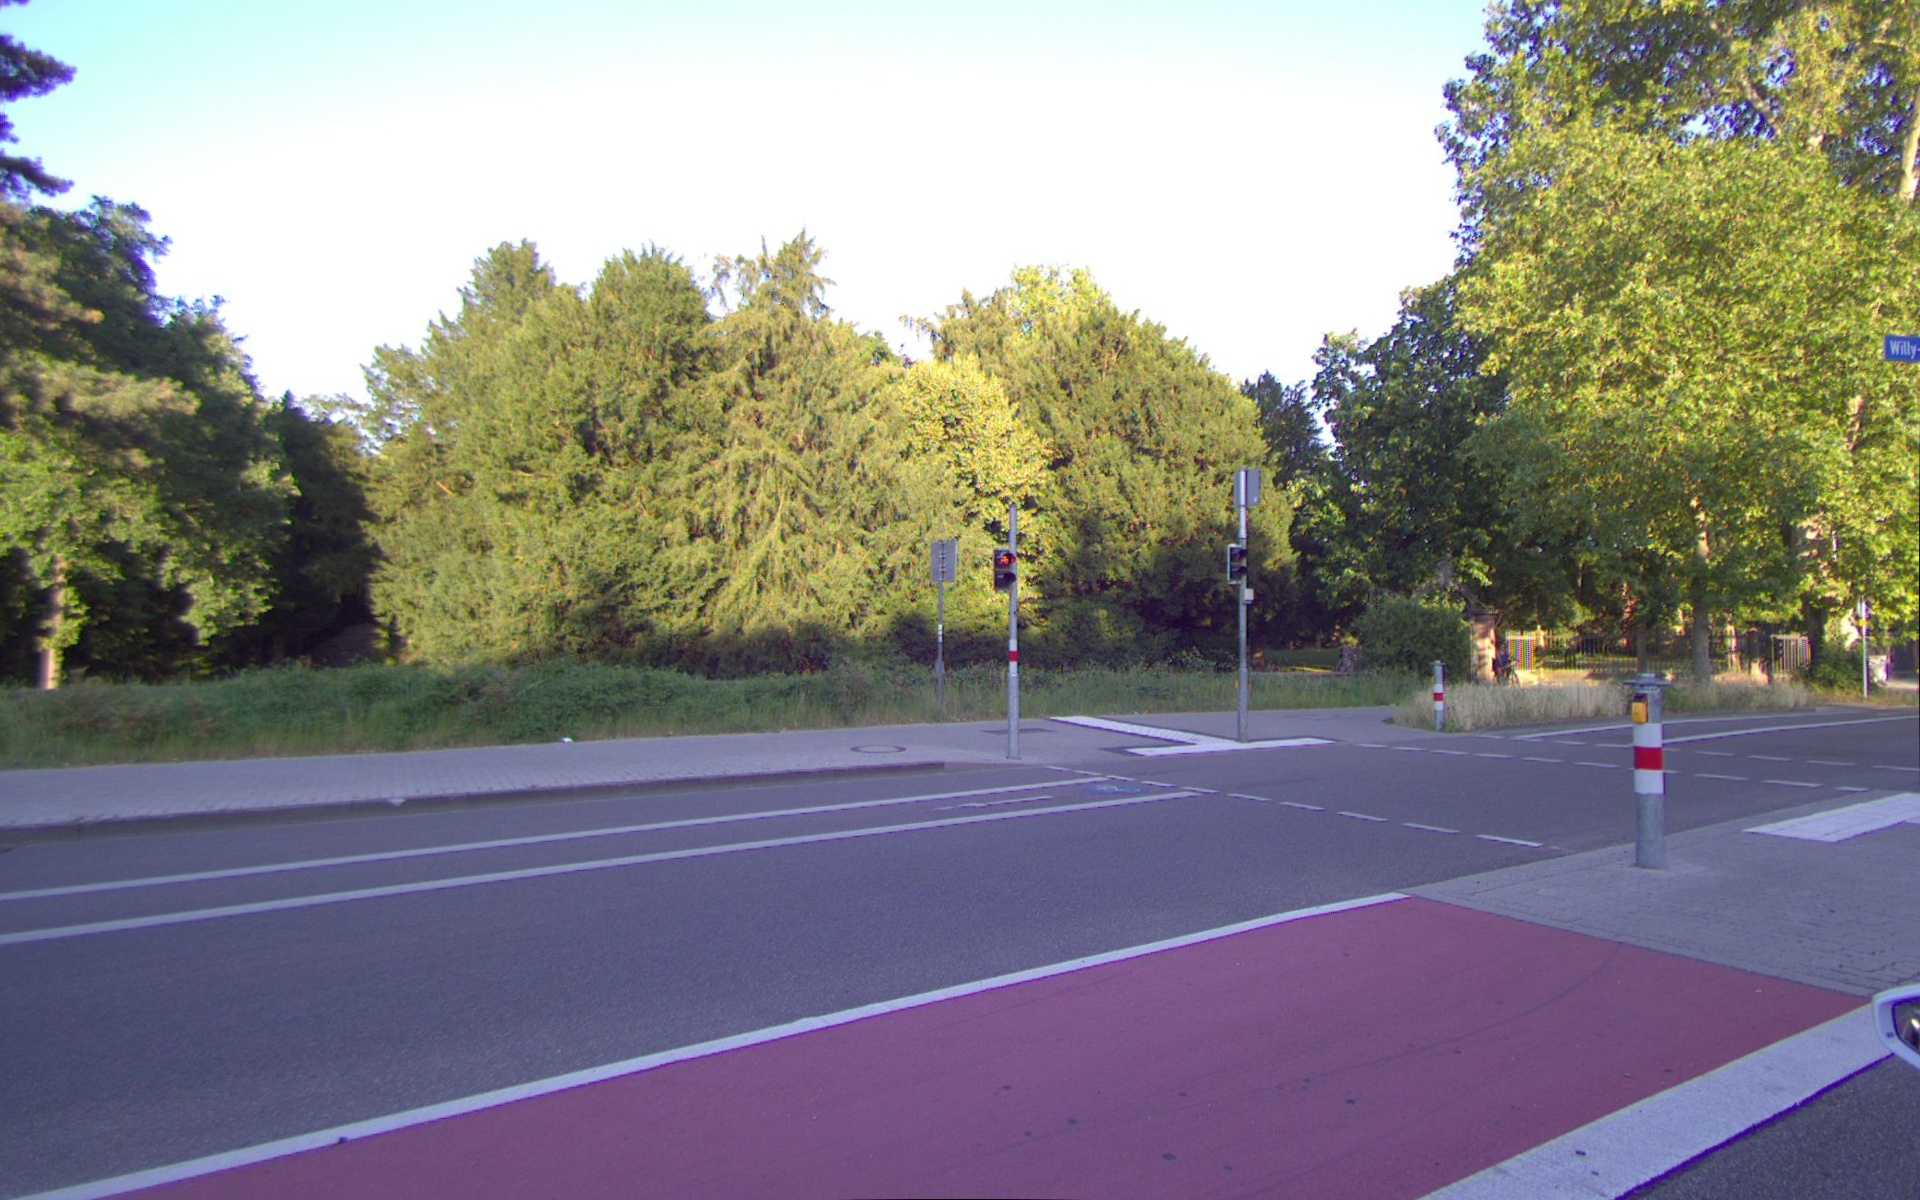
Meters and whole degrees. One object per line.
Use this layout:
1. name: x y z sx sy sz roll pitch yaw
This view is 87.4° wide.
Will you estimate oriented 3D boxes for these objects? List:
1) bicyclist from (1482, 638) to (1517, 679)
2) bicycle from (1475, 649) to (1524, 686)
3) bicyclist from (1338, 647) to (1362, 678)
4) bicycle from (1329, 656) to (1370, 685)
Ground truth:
1. bicyclist: 19.385 2.107 36.094 0.776 1.445 0.892 0 -2 2
2. bicycle: 19.365 2.418 36.098 0.776 1.273 1.981 0 -2 2
3. bicyclist: 17.314 2.762 44.644 0.568 1.379 0.830 2 -2 -39
4. bicycle: 17.301 3.127 44.612 0.568 1.245 1.614 2 -3 -39
